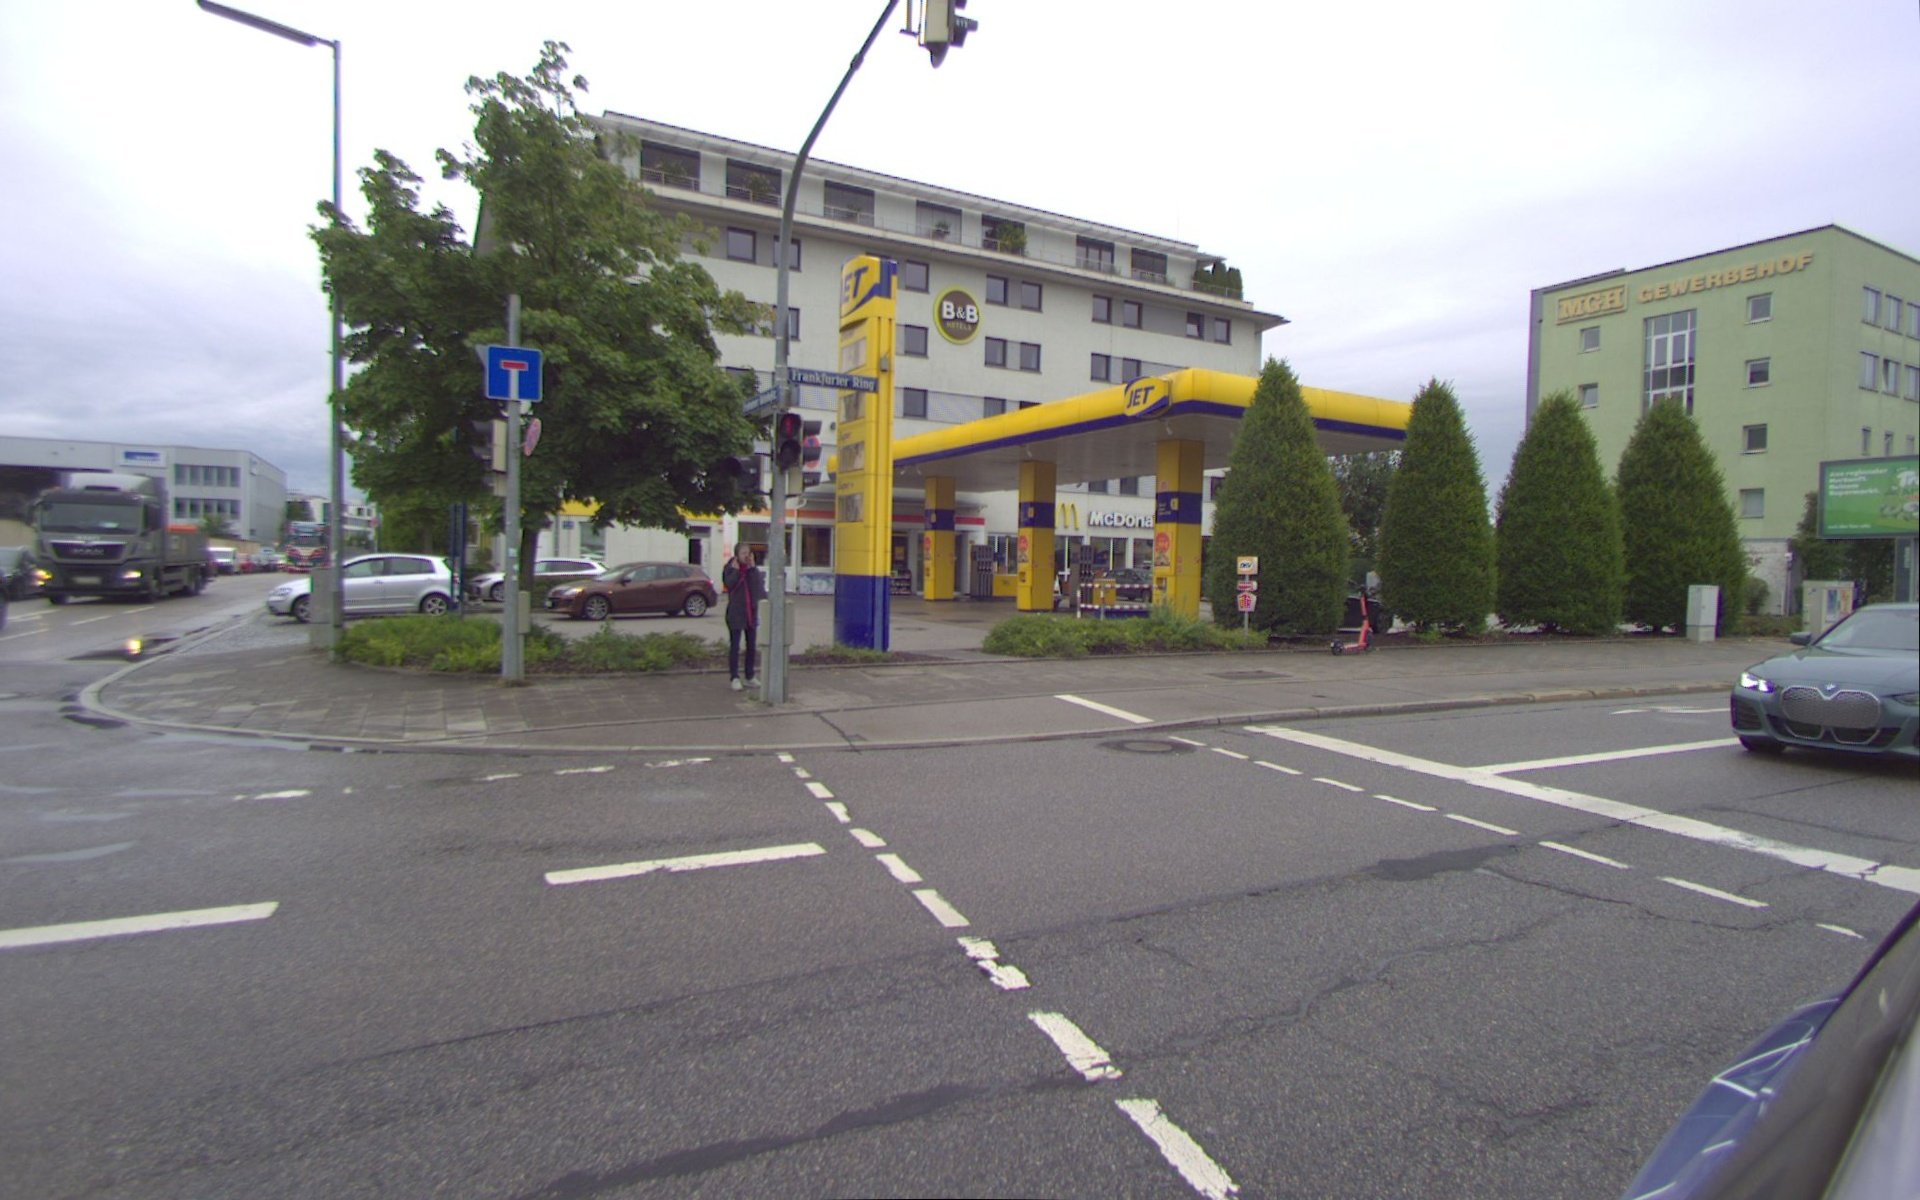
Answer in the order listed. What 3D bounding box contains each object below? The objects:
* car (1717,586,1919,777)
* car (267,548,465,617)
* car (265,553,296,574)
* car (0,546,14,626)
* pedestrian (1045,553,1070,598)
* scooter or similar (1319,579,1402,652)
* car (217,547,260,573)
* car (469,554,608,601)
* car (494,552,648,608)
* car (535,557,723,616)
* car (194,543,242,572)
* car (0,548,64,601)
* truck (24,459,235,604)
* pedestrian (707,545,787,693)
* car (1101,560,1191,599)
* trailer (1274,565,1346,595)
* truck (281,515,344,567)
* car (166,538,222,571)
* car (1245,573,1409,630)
[{"bbox_3d":[9.403,0.654,9.588,4.349,1.526,1.920,0,1,-28],"label":"car"},{"bbox_3d":[-13.900,-0.391,23.848,3.899,1.504,1.630,0,1,-31],"label":"car"},{"bbox_3d":[-60.143,-3.208,89.630,1.835,1.727,4.109,0,1,-27],"label":"car"},{"bbox_3d":[-18.816,-0.188,17.719,1.959,1.551,4.642,0,2,-26],"label":"car"},{"bbox_3d":[3.830,-0.947,39.768,0.631,1.750,0.709,0,0,-32],"label":"pedestrian"},{"bbox_3d":[7.183,0.267,18.134,1.513,1.257,0.358,0,4,-24],"label":"scooter or similar"},{"bbox_3d":[-50.758,-2.821,71.262,1.835,1.727,4.109,0,1,-27],"label":"car"},{"bbox_3d":[-14.050,-0.728,33.772,4.108,1.496,1.911,0,1,-29],"label":"car"},{"bbox_3d":[-10.932,-0.543,28.483,3.896,1.504,1.631,0,1,-27],"label":"car"},{"bbox_3d":[-8.468,-0.337,26.075,4.284,1.401,1.702,0,1,-39],"label":"car"},{"bbox_3d":[-47.578,-2.688,64.931,1.835,1.727,4.109,0,1,-27],"label":"car"},{"bbox_3d":[-29.164,-0.805,30.836,1.727,1.494,4.008,0,2,-25],"label":"car"},{"bbox_3d":[-26.703,-2.119,33.299,2.556,3.903,11.961,0,2,-25],"label":"truck"},{"bbox_3d":[-2.505,0.200,11.872,0.674,1.634,0.806,0,4,-29],"label":"pedestrian"},{"bbox_3d":[8.073,-0.934,44.352,1.672,1.606,4.005,0,2,-30],"label":"car"},{"bbox_3d":[20.186,-1.148,58.450,1.602,1.671,3.814,0,1,-30],"label":"trailer"},{"bbox_3d":[-52.876,-4.801,82.941,2.819,3.878,11.961,0,2,-25],"label":"truck"},{"bbox_3d":[-43.055,-2.516,56.947,1.835,1.727,4.109,0,1,-27],"label":"car"},{"bbox_3d":[9.264,0.020,25.492,3.920,1.349,1.802,0,1,-30],"label":"car"}]
